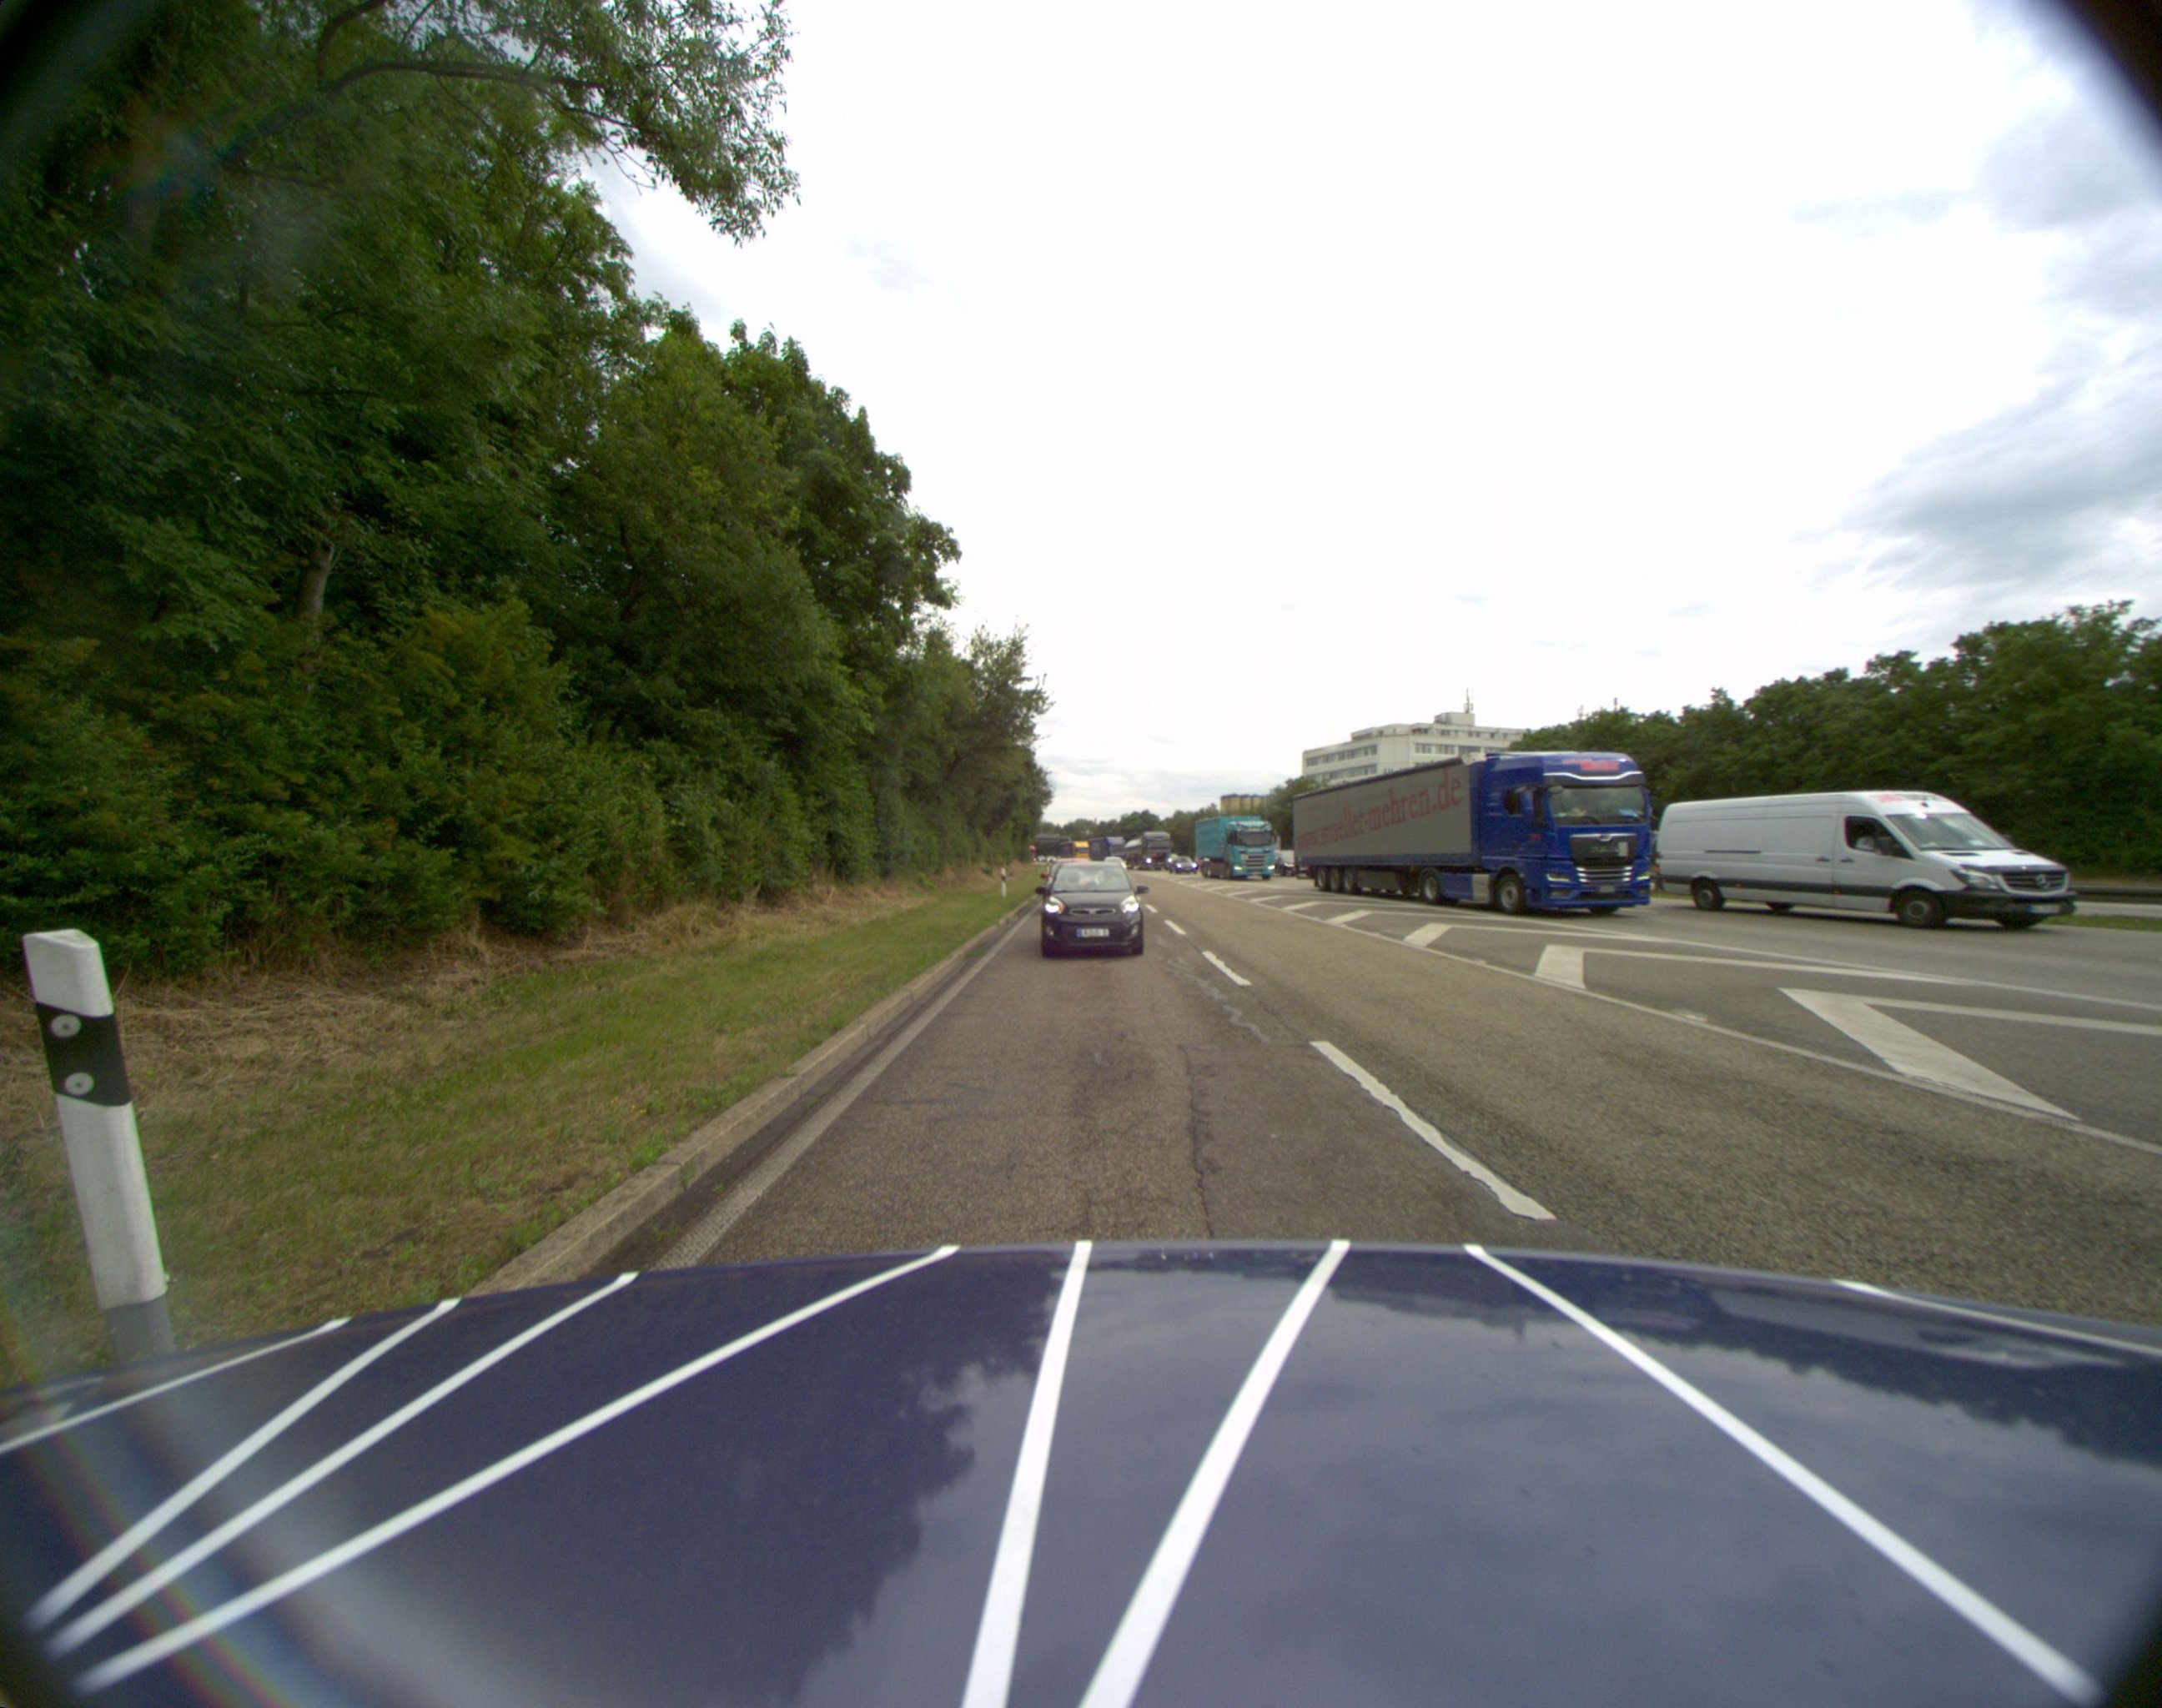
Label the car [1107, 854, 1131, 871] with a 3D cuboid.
[{"bbox_3d":[3.364,0.741,67.790,1.864,1.455,4.884,-1,0,0],"label":"car"}]

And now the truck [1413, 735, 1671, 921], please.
[{"bbox_3d":[11.157,-0.564,19.190,2.676,3.938,5.925,-1,0,-4],"label":"truck"}]

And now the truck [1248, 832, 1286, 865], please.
[{"bbox_3d":[22.409,-0.622,92.028,2.354,3.861,8.112,0,0,-2],"label":"truck"}]

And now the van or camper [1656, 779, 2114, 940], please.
[{"bbox_3d":[15.694,0.081,15.822,2.054,2.606,6.954,0,0,-1],"label":"van or camper"}]

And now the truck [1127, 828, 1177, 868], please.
[{"bbox_3d":[7.401,-0.619,81.678,3.329,3.902,13.140,-1,0,-4],"label":"truck"}]

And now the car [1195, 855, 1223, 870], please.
[{"bbox_3d":[12.490,0.772,74.508,1.898,1.425,4.054,0,0,-3],"label":"car"}]

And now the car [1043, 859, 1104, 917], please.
[{"bbox_3d":[-0.218,0.921,22.100,1.631,1.492,3.563,0,0,0],"label":"car"}]

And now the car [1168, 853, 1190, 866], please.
[{"bbox_3d":[11.475,0.590,89.226,1.999,1.474,3.248,-1,0,-4],"label":"car"}]

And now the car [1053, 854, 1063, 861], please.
[{"bbox_3d":[-4.819,0.744,159.749,1.636,1.328,3.192,0,0,-11],"label":"car"}]

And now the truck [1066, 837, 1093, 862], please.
[{"bbox_3d":[-0.416,-0.814,137.001,2.848,4.206,14.109,-1,0,-9],"label":"truck"}]

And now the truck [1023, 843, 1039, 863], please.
[{"bbox_3d":[-12.790,-0.245,191.925,2.848,5.070,14.110,-1,0,-8],"label":"truck"}]

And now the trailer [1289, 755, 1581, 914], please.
[{"bbox_3d":[10.749,-0.504,25.879,2.681,3.951,13.914,-1,0,-3],"label":"trailer"}]

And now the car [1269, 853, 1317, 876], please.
[{"bbox_3d":[14.039,0.671,50.599,1.898,1.425,3.998,0,0,-3],"label":"car"}]

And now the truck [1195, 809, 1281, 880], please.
[{"bbox_3d":[9.676,-0.541,48.175,2.701,3.977,10.121,-1,0,-4],"label":"truck"}]

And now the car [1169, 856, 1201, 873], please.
[{"bbox_3d":[8.575,0.863,62.808,1.757,1.314,3.998,-1,0,-5],"label":"car"}]

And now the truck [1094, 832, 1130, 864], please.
[{"bbox_3d":[4.160,-0.813,106.529,2.815,4.206,13.997,-1,0,-7],"label":"truck"}]

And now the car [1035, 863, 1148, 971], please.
[{"bbox_3d":[0.178,0.931,12.894,1.584,1.485,4.000,-1,0,1],"label":"car"}]
